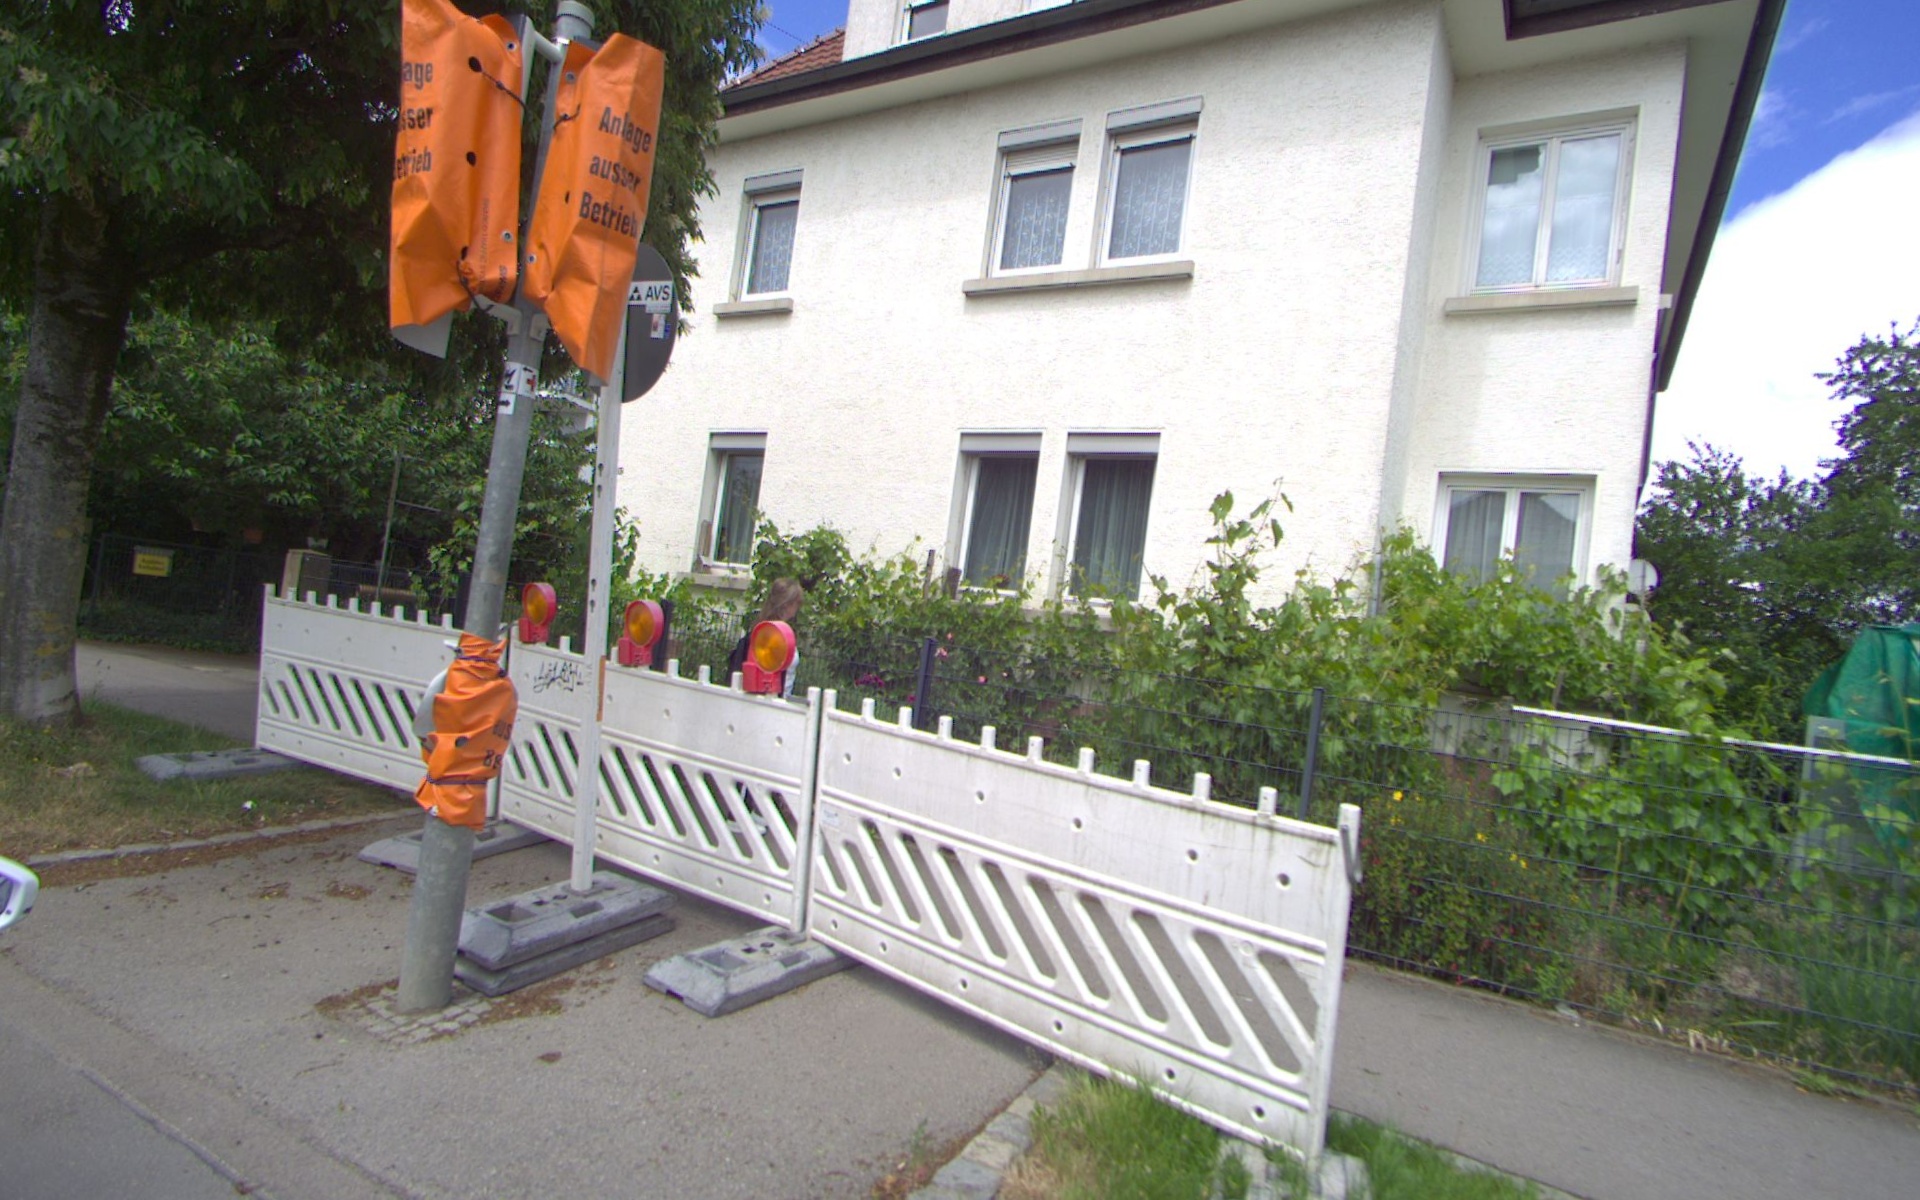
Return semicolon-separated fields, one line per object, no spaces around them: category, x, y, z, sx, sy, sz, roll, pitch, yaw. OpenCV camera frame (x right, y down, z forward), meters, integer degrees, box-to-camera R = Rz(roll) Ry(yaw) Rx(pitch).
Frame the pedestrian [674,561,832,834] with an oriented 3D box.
pedestrian;-1.279;0.593;6.290;0.512;1.558;0.636;7;-1;24
